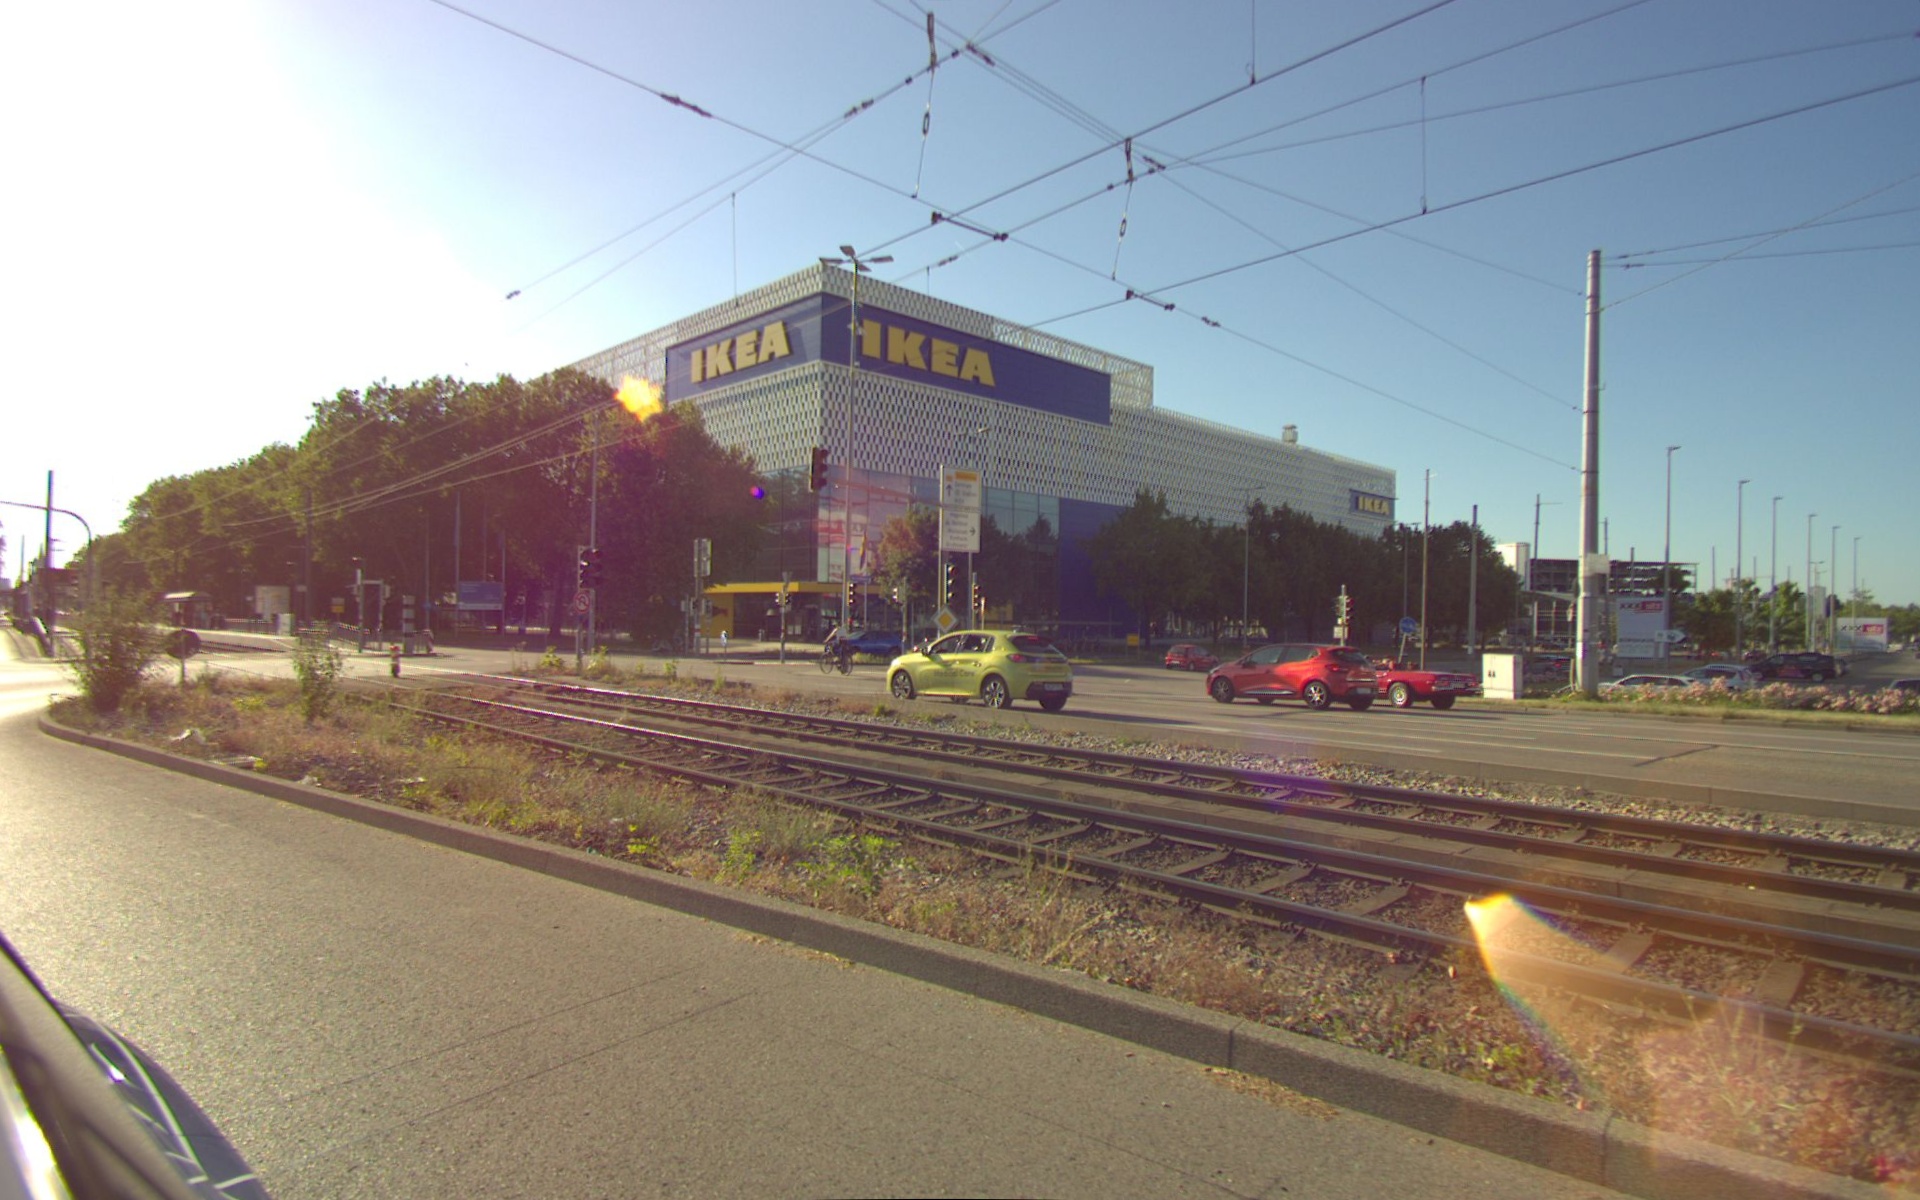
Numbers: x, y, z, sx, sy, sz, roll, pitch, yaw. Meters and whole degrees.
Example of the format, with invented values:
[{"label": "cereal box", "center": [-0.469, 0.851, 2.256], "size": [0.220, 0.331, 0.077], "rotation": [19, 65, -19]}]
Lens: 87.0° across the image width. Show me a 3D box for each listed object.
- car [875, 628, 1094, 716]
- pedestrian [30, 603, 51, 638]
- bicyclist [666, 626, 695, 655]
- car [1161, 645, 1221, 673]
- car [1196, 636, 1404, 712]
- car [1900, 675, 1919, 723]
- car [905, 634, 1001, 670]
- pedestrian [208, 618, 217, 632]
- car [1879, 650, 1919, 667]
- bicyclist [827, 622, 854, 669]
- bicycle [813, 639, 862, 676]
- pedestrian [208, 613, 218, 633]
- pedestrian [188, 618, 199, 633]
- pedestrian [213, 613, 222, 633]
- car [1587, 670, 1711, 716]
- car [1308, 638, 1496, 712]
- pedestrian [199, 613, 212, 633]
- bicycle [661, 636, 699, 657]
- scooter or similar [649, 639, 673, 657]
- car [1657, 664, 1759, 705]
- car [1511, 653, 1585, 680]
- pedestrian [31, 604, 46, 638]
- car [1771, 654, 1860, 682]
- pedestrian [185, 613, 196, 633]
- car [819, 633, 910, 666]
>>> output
[{"label": "car", "center": [0.371, 1.284, 19.145], "size": [1.762, 1.459, 4.111], "rotation": [3, -3, -44]}, {"label": "pedestrian", "center": [-46.702, 1.033, 51.408], "size": [0.698, 1.788, 0.536], "rotation": [-2, 1, -40]}, {"label": "bicyclist", "center": [-16.403, 2.376, 59.372], "size": [0.820, 1.629, 1.470], "rotation": [0, -2, 32]}, {"label": "car", "center": [13.400, 3.426, 58.673], "size": [1.772, 1.471, 3.534], "rotation": [0, -3, 44]}, {"label": "car", "center": [7.627, 1.637, 23.051], "size": [1.909, 1.487, 4.142], "rotation": [4, -3, -35]}, {"label": "car", "center": [37.719, 3.758, 37.467], "size": [1.840, 1.736, 4.009], "rotation": [2, -2, -37]}, {"label": "car", "center": [-0.286, 2.341, 44.999], "size": [4.029, 1.469, 1.923], "rotation": [4, -3, -44]}, {"label": "pedestrian", "center": [-64.003, 2.146, 86.647], "size": [0.594, 1.233, 0.618], "rotation": [-1, 0, -40]}, {"label": "car", "center": [112.211, 7.012, 120.457], "size": [1.970, 1.794, 4.004], "rotation": [-2, 0, -43]}, {"label": "bicyclist", "center": [-3.984, 1.511, 33.752], "size": [0.581, 1.534, 0.752], "rotation": [1, -1, -44]}, {"label": "bicycle", "center": [-4.121, 1.904, 33.915], "size": [0.581, 1.176, 1.993], "rotation": [1, -1, -43]}, {"label": "pedestrian", "center": [-63.079, 1.945, 85.449], "size": [0.643, 1.632, 0.636], "rotation": [-1, 0, -40]}, {"label": "pedestrian", "center": [-68.074, 2.238, 89.867], "size": [0.685, 1.262, 0.645], "rotation": [-1, 0, 43]}, {"label": "pedestrian", "center": [-62.070, 1.946, 84.601], "size": [0.594, 1.632, 0.691], "rotation": [-1, 0, -40]}, {"label": "car", "center": [30.995, 4.139, 45.607], "size": [4.415, 1.723, 1.973], "rotation": [-1, 0, 41]}, {"label": "car", "center": [10.867, 1.797, 25.148], "size": [1.795, 1.655, 4.012], "rotation": [3, -3, -30]}, {"label": "pedestrian", "center": [-65.285, 1.962, 87.580], "size": [0.686, 1.704, 0.725], "rotation": [-1, 0, 36]}, {"label": "bicycle", "center": [-16.419, 2.707, 59.327], "size": [0.712, 1.227, 2.254], "rotation": [0, -2, 32]}, {"label": "scooter or similar", "center": [-17.125, 2.738, 57.971], "size": [0.786, 1.023, 1.055], "rotation": [0, -2, 32]}, {"label": "car", "center": [38.223, 4.266, 51.736], "size": [3.999, 1.758, 1.909], "rotation": [-1, 0, 42]}, {"label": "car", "center": [41.382, 4.677, 71.315], "size": [1.876, 1.580, 4.261], "rotation": [-2, 0, -20]}, {"label": "pedestrian", "center": [-45.622, 1.028, 50.115], "size": [0.527, 1.669, 0.751], "rotation": [-1, 1, -42]}, {"label": "car", "center": [56.802, 4.495, 67.232], "size": [4.437, 1.563, 1.650], "rotation": [-1, 0, 41]}, {"label": "pedestrian", "center": [-67.319, 1.987, 88.528], "size": [0.645, 1.755, 0.686], "rotation": [-2, 0, -41]}, {"label": "car", "center": [-4.925, 2.586, 52.455], "size": [4.190, 1.509, 2.019], "rotation": [5, -3, -39]}]
